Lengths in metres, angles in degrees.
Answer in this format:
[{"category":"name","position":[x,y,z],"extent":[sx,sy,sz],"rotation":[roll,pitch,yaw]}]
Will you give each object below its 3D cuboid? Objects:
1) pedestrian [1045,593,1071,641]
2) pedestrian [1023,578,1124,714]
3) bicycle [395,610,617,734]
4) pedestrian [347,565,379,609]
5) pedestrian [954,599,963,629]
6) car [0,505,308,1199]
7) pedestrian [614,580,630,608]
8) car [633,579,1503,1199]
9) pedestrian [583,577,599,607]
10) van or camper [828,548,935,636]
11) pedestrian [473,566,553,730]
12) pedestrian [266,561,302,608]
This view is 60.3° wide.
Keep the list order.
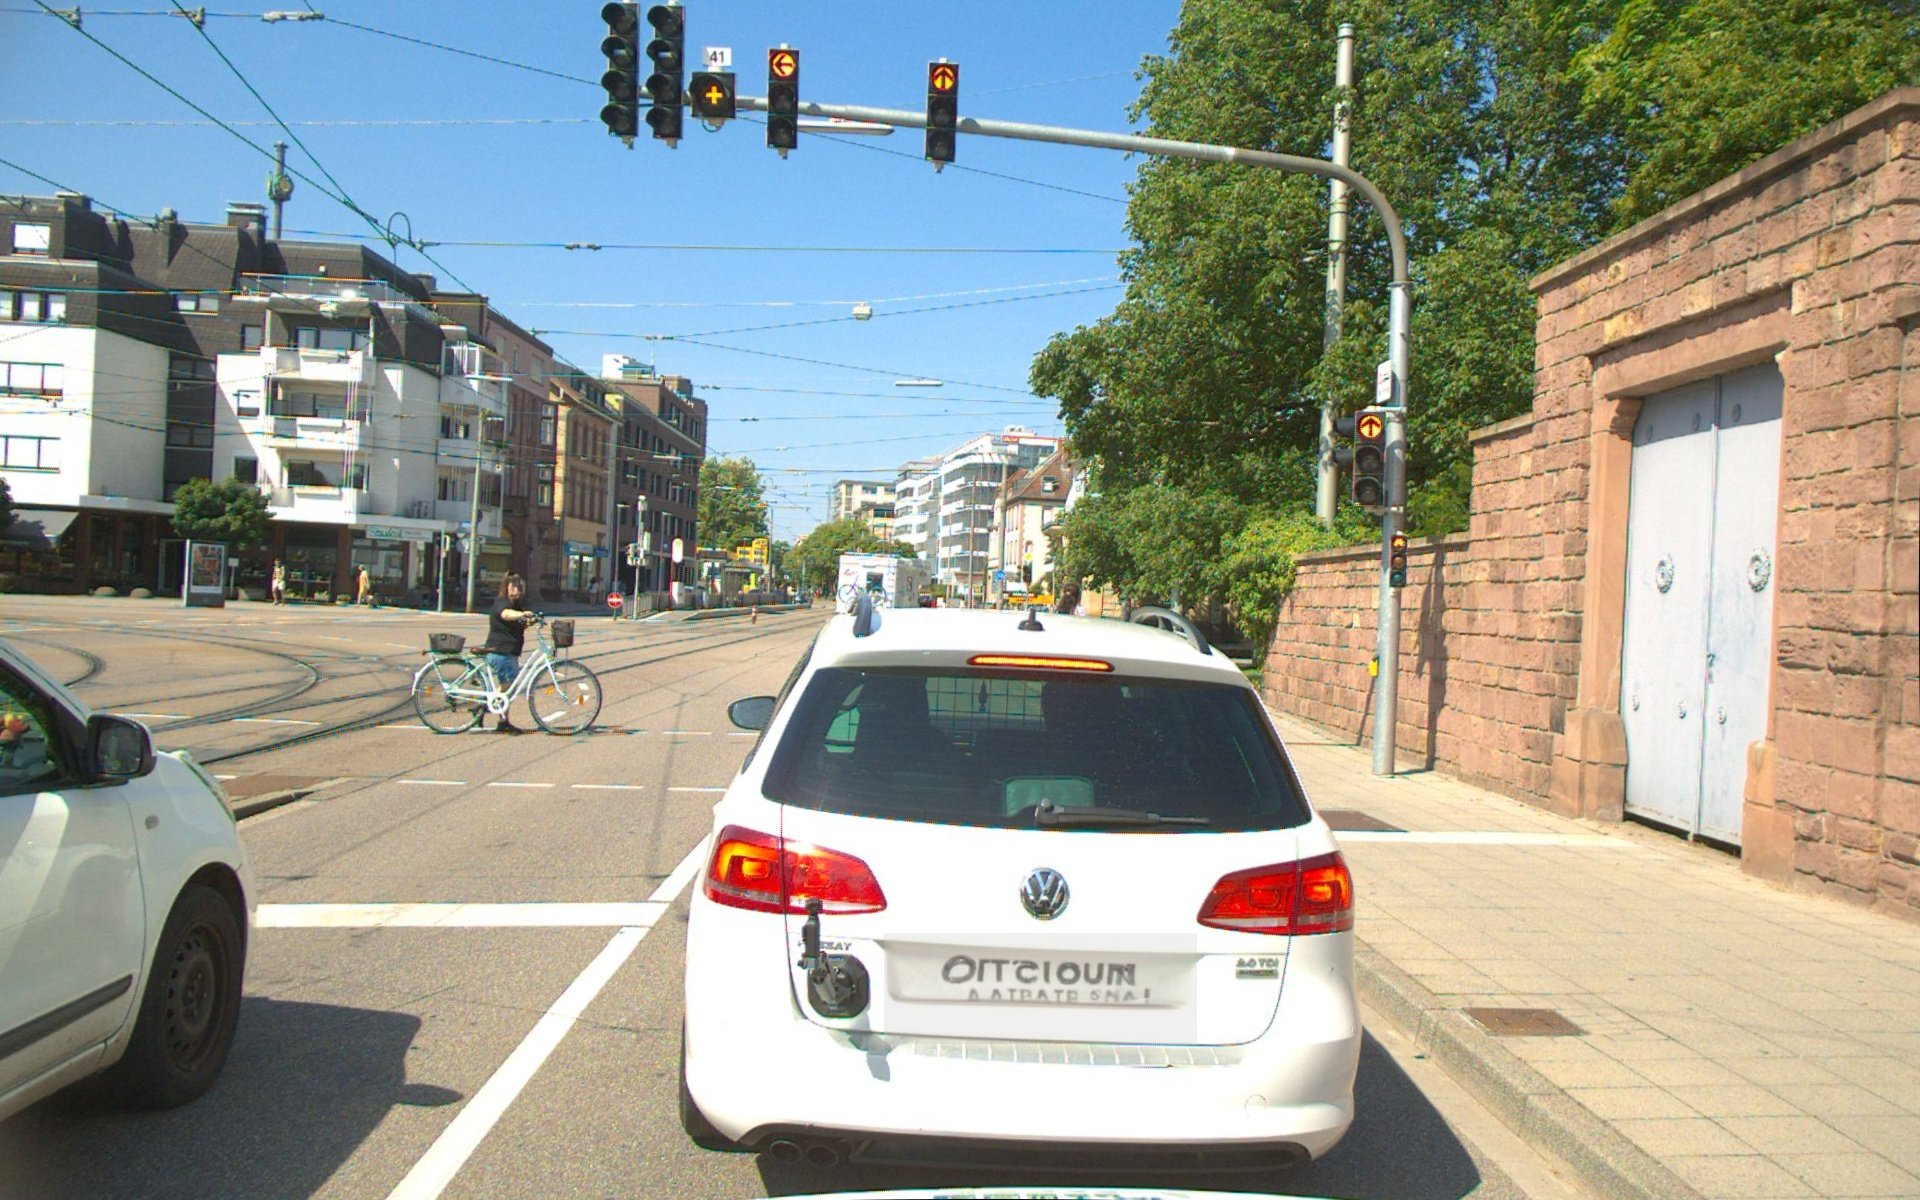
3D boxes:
[{"category":"pedestrian","position":[3.659,0.631,61.737],"extent":[0.843,1.773,0.975],"rotation":[0,-1,8]},{"category":"pedestrian","position":[1.459,0.577,21.181],"extent":[0.935,1.680,0.972],"rotation":[0,-1,32]},{"category":"bicycle","position":[-4.363,0.693,15.964],"extent":[1.986,1.109,0.707],"rotation":[2,0,-16]},{"category":"pedestrian","position":[-24.493,-0.531,67.860],"extent":[0.849,1.773,0.969],"rotation":[-1,-1,42]},{"category":"pedestrian","position":[-0.082,1.094,129.036],"extent":[0.675,2.366,1.232],"rotation":[0,-1,0]},{"category":"car","position":[-2.839,0.588,3.314],"extent":[1.608,1.593,3.803],"rotation":[1,1,-1]},{"category":"pedestrian","position":[-21.630,-0.406,105.858],"extent":[0.845,1.773,0.973],"rotation":[1,-1,-6]},{"category":"car","position":[0.191,0.713,5.428],"extent":[1.771,1.473,3.999],"rotation":[2,0,-1]},{"category":"pedestrian","position":[-22.272,-0.497,99.819],"extent":[0.845,1.773,0.973],"rotation":[1,-1,-6]},{"category":"van or camper","position":[-2.883,-0.245,62.463],"extent":[2.512,3.147,5.707],"rotation":[0,-1,14]},{"category":"pedestrian","position":[-4.459,0.466,16.543],"extent":[0.733,1.599,0.673],"rotation":[1,1,-15]},{"category":"pedestrian","position":[-26.138,-0.599,63.982],"extent":[0.844,1.773,0.974],"rotation":[0,-1,25]}]
